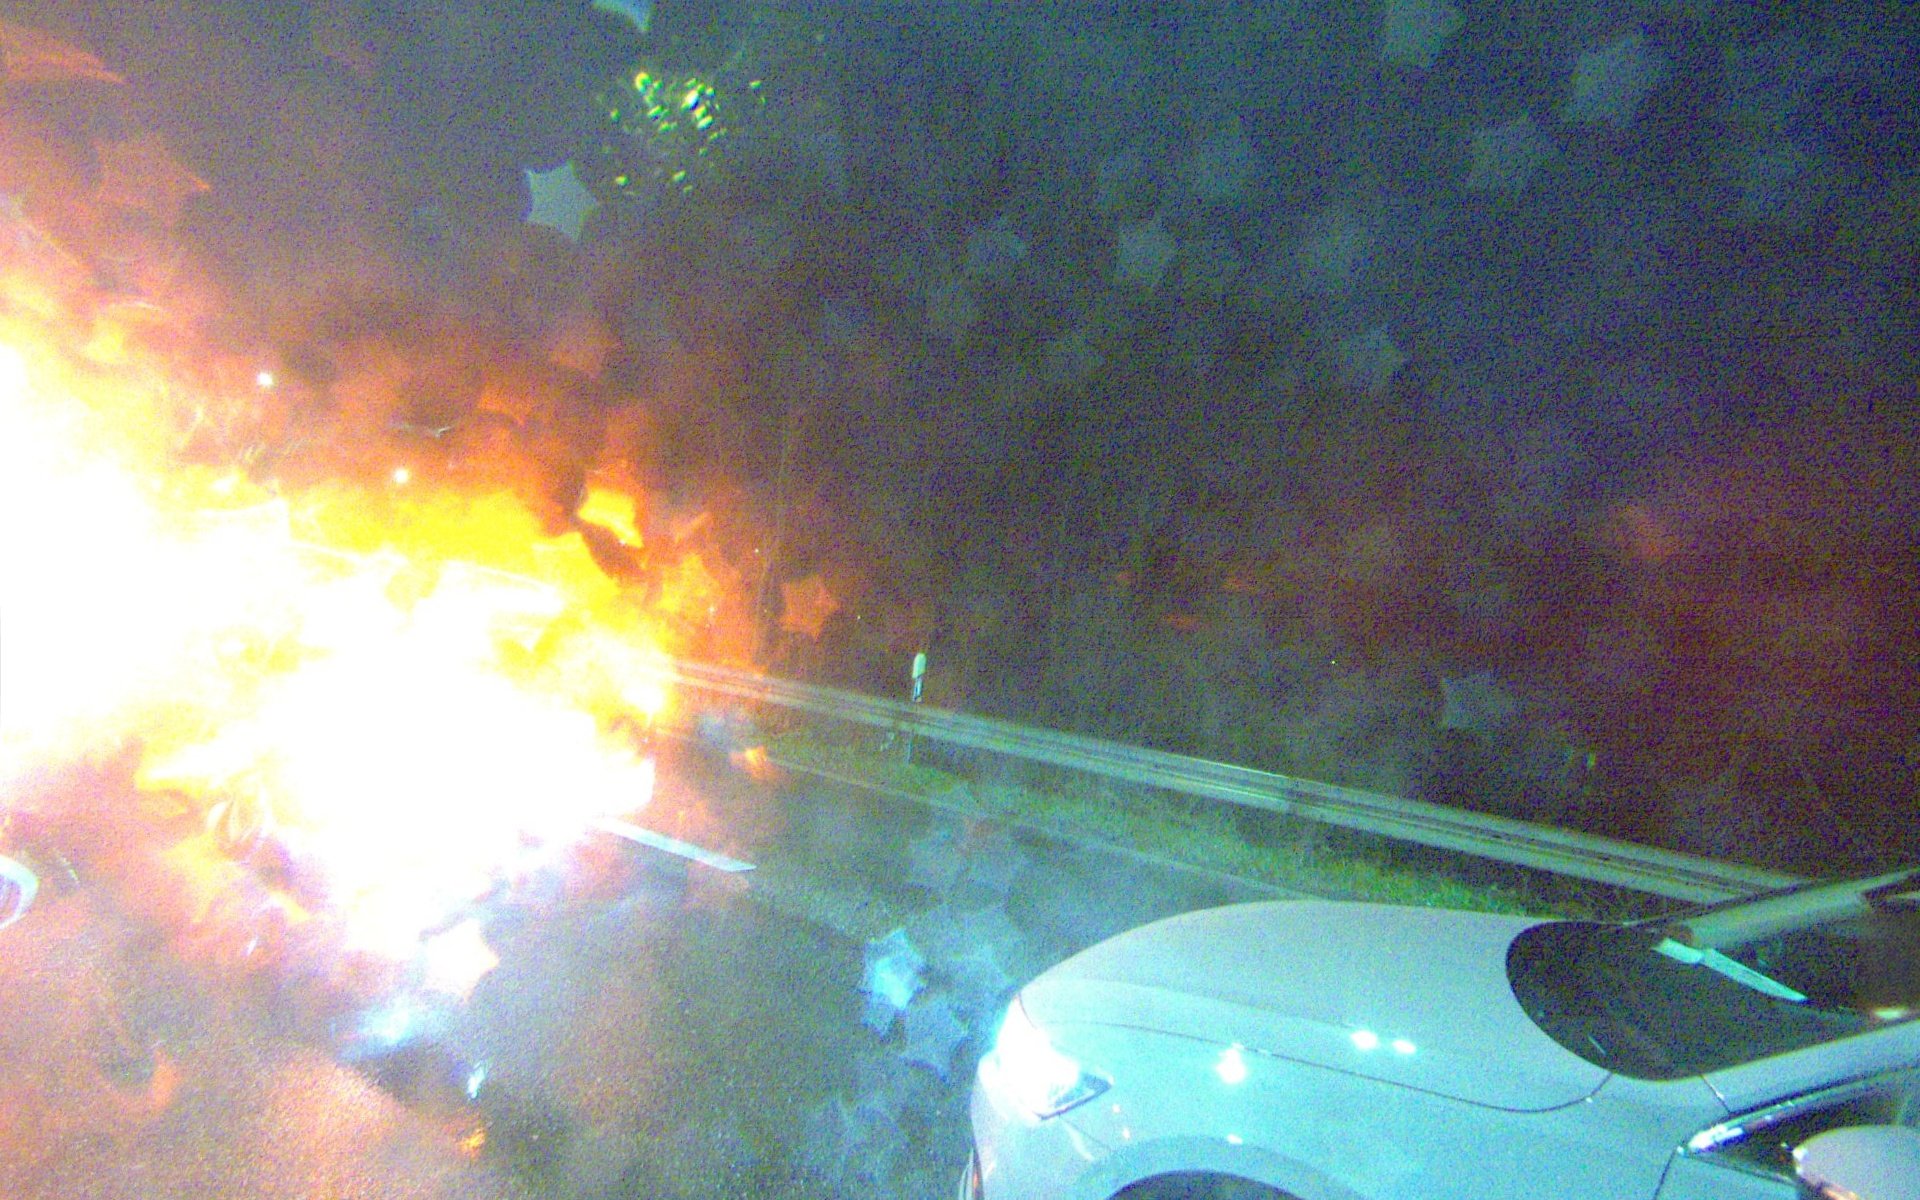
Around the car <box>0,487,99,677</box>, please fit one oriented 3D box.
[{"bbox_3d":[-9.696,-0.361,8.988,3.892,1.539,1.681,6,-2,29],"label":"car"}]

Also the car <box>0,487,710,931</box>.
[{"bbox_3d":[-3.731,0.370,5.756,4.484,1.524,1.676,7,-2,32],"label":"car"}]

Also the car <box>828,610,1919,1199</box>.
[{"bbox_3d":[2.048,1.067,1.593,4.342,1.539,1.710,6,-2,32],"label":"car"}]
